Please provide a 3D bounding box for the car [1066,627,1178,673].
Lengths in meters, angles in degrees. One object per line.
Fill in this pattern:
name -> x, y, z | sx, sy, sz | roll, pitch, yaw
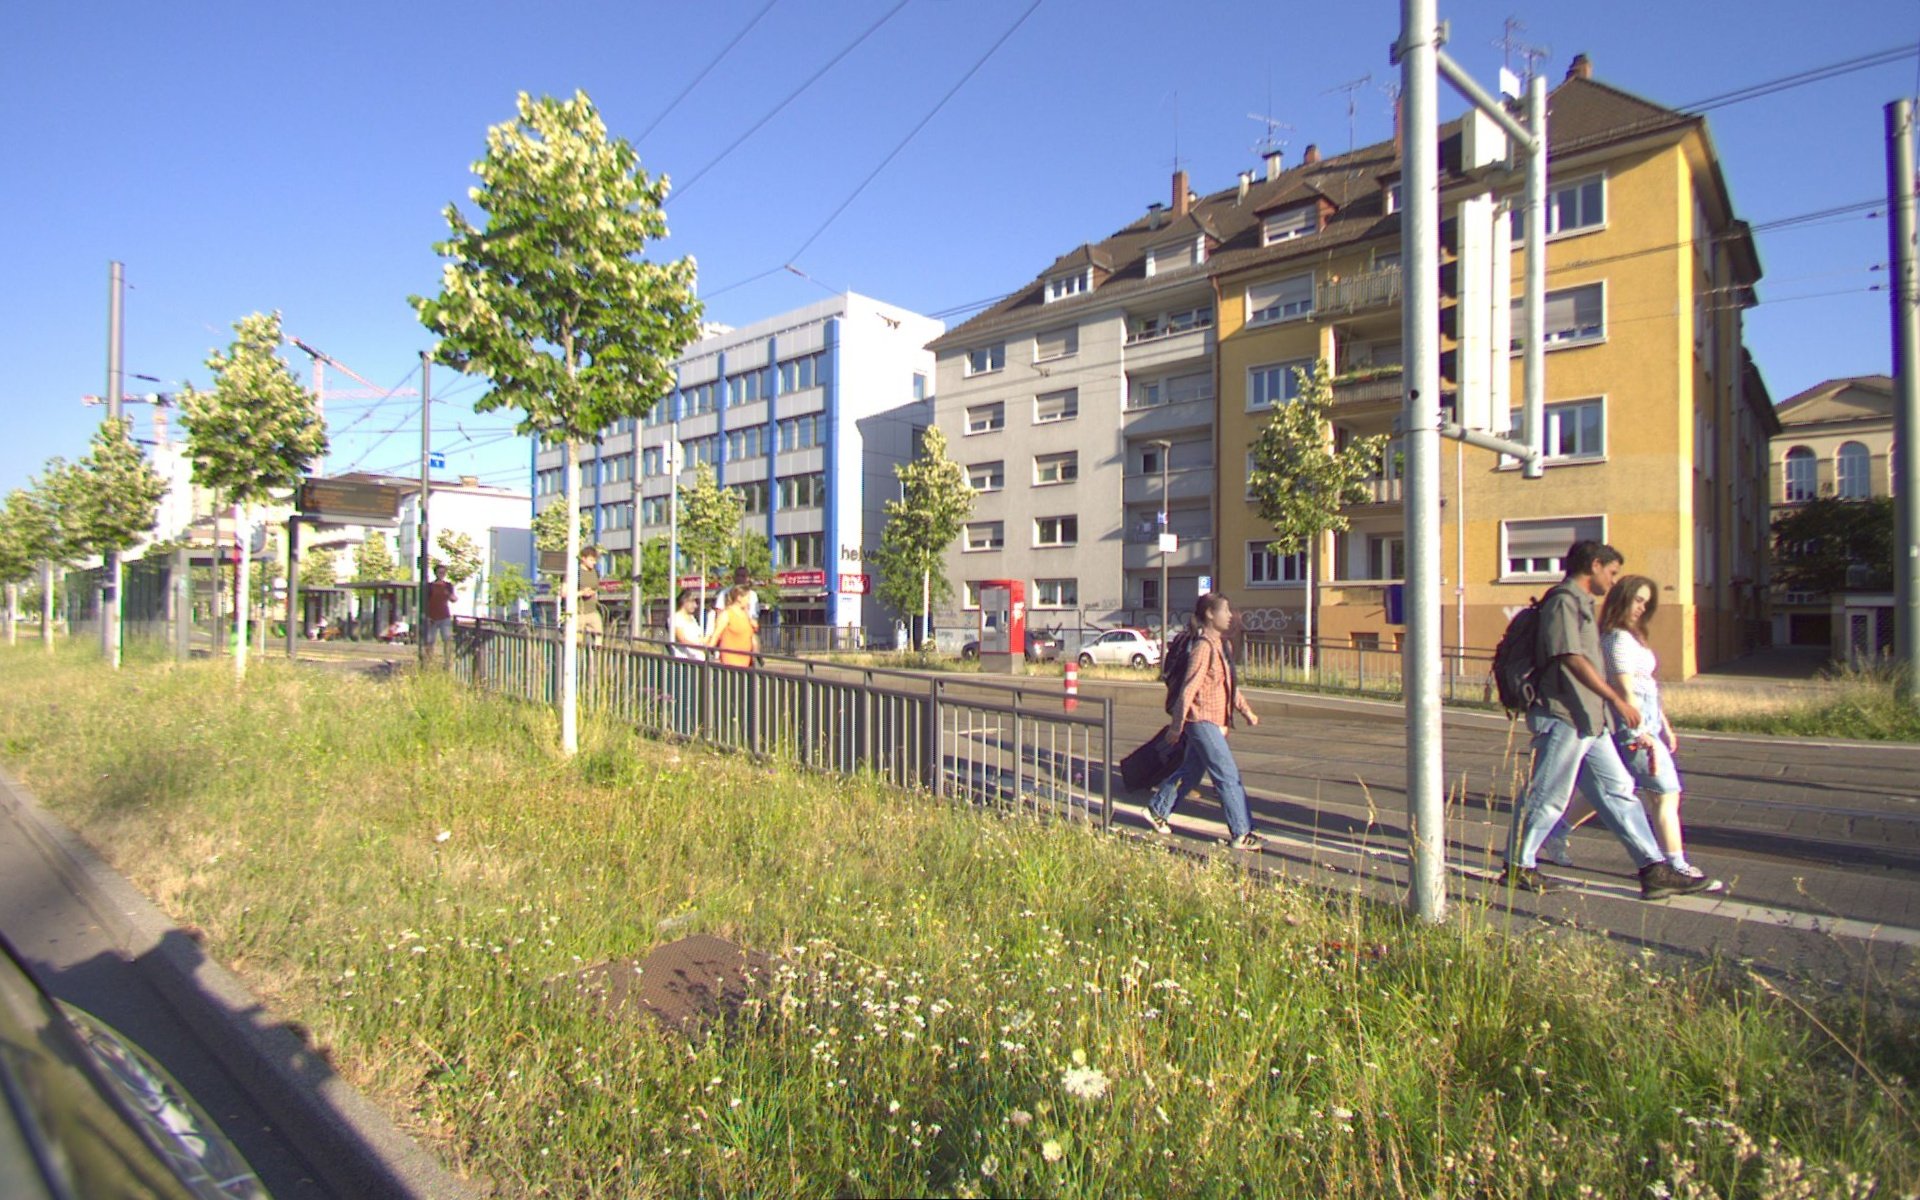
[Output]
car -> 5.940, 1.815, 37.355 | 3.672, 1.519, 1.861 | -1, 0, 41

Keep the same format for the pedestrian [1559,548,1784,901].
pedestrian -> 3.748, 0.584, 5.336 | 0.899, 1.653, 0.778 | -1, 0, 39

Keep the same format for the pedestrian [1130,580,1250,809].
pedestrian -> 1.781, 0.689, 7.823 | 0.619, 1.653, 0.778 | -1, -1, 39

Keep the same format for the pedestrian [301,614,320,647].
pedestrian -> -33.609, 1.581, 52.378 | 0.772, 1.705, 0.651 | -1, 0, 44

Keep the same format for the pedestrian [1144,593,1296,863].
pedestrian -> 1.625, 0.737, 6.310 | 0.619, 1.547, 0.777 | -1, 0, 41

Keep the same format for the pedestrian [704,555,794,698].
pedestrian -> -2.408, 0.292, 11.569 | 0.620, 1.560, 0.776 | -1, 0, 44

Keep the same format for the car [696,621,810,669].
car -> -7.216, 1.521, 35.131 | 3.941, 1.519, 1.861 | -1, 0, 41

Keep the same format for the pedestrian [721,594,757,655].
pedestrian -> -6.234, 0.684, 28.585 | 0.620, 1.685, 0.776 | -1, 0, 44

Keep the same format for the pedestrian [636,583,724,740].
pedestrian -> -2.730, 0.574, 9.864 | 0.524, 1.467, 0.630 | -1, 0, 40

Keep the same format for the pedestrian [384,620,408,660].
pedestrian -> -24.569, 1.740, 44.095 | 0.771, 1.705, 0.651 | -1, 0, 39

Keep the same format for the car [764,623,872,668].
car -> -5.301, 1.636, 37.614 | 3.941, 1.519, 1.861 | -1, 0, 41

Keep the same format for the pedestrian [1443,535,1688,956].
pedestrian -> 2.959, 0.622, 4.951 | 0.900, 1.814, 0.777 | 0, 1, 42

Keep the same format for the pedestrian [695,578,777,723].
pedestrian -> -2.320, 0.502, 10.506 | 0.524, 1.442, 0.630 | -1, 0, 38

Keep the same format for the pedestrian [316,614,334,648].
pedestrian -> -31.900, 1.559, 50.832 | 0.650, 1.705, 0.773 | -1, 0, -43

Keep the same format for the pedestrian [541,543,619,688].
pedestrian -> -5.102, 0.202, 13.600 | 0.620, 1.878, 0.776 | -1, 0, 44

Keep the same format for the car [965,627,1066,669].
car -> 2.209, 1.863, 40.472 | 3.672, 1.519, 1.861 | -1, 0, 41

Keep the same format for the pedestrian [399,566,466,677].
pedestrian -> -8.366, 0.326, 16.066 | 0.620, 1.711, 0.776 | -1, 0, 44
